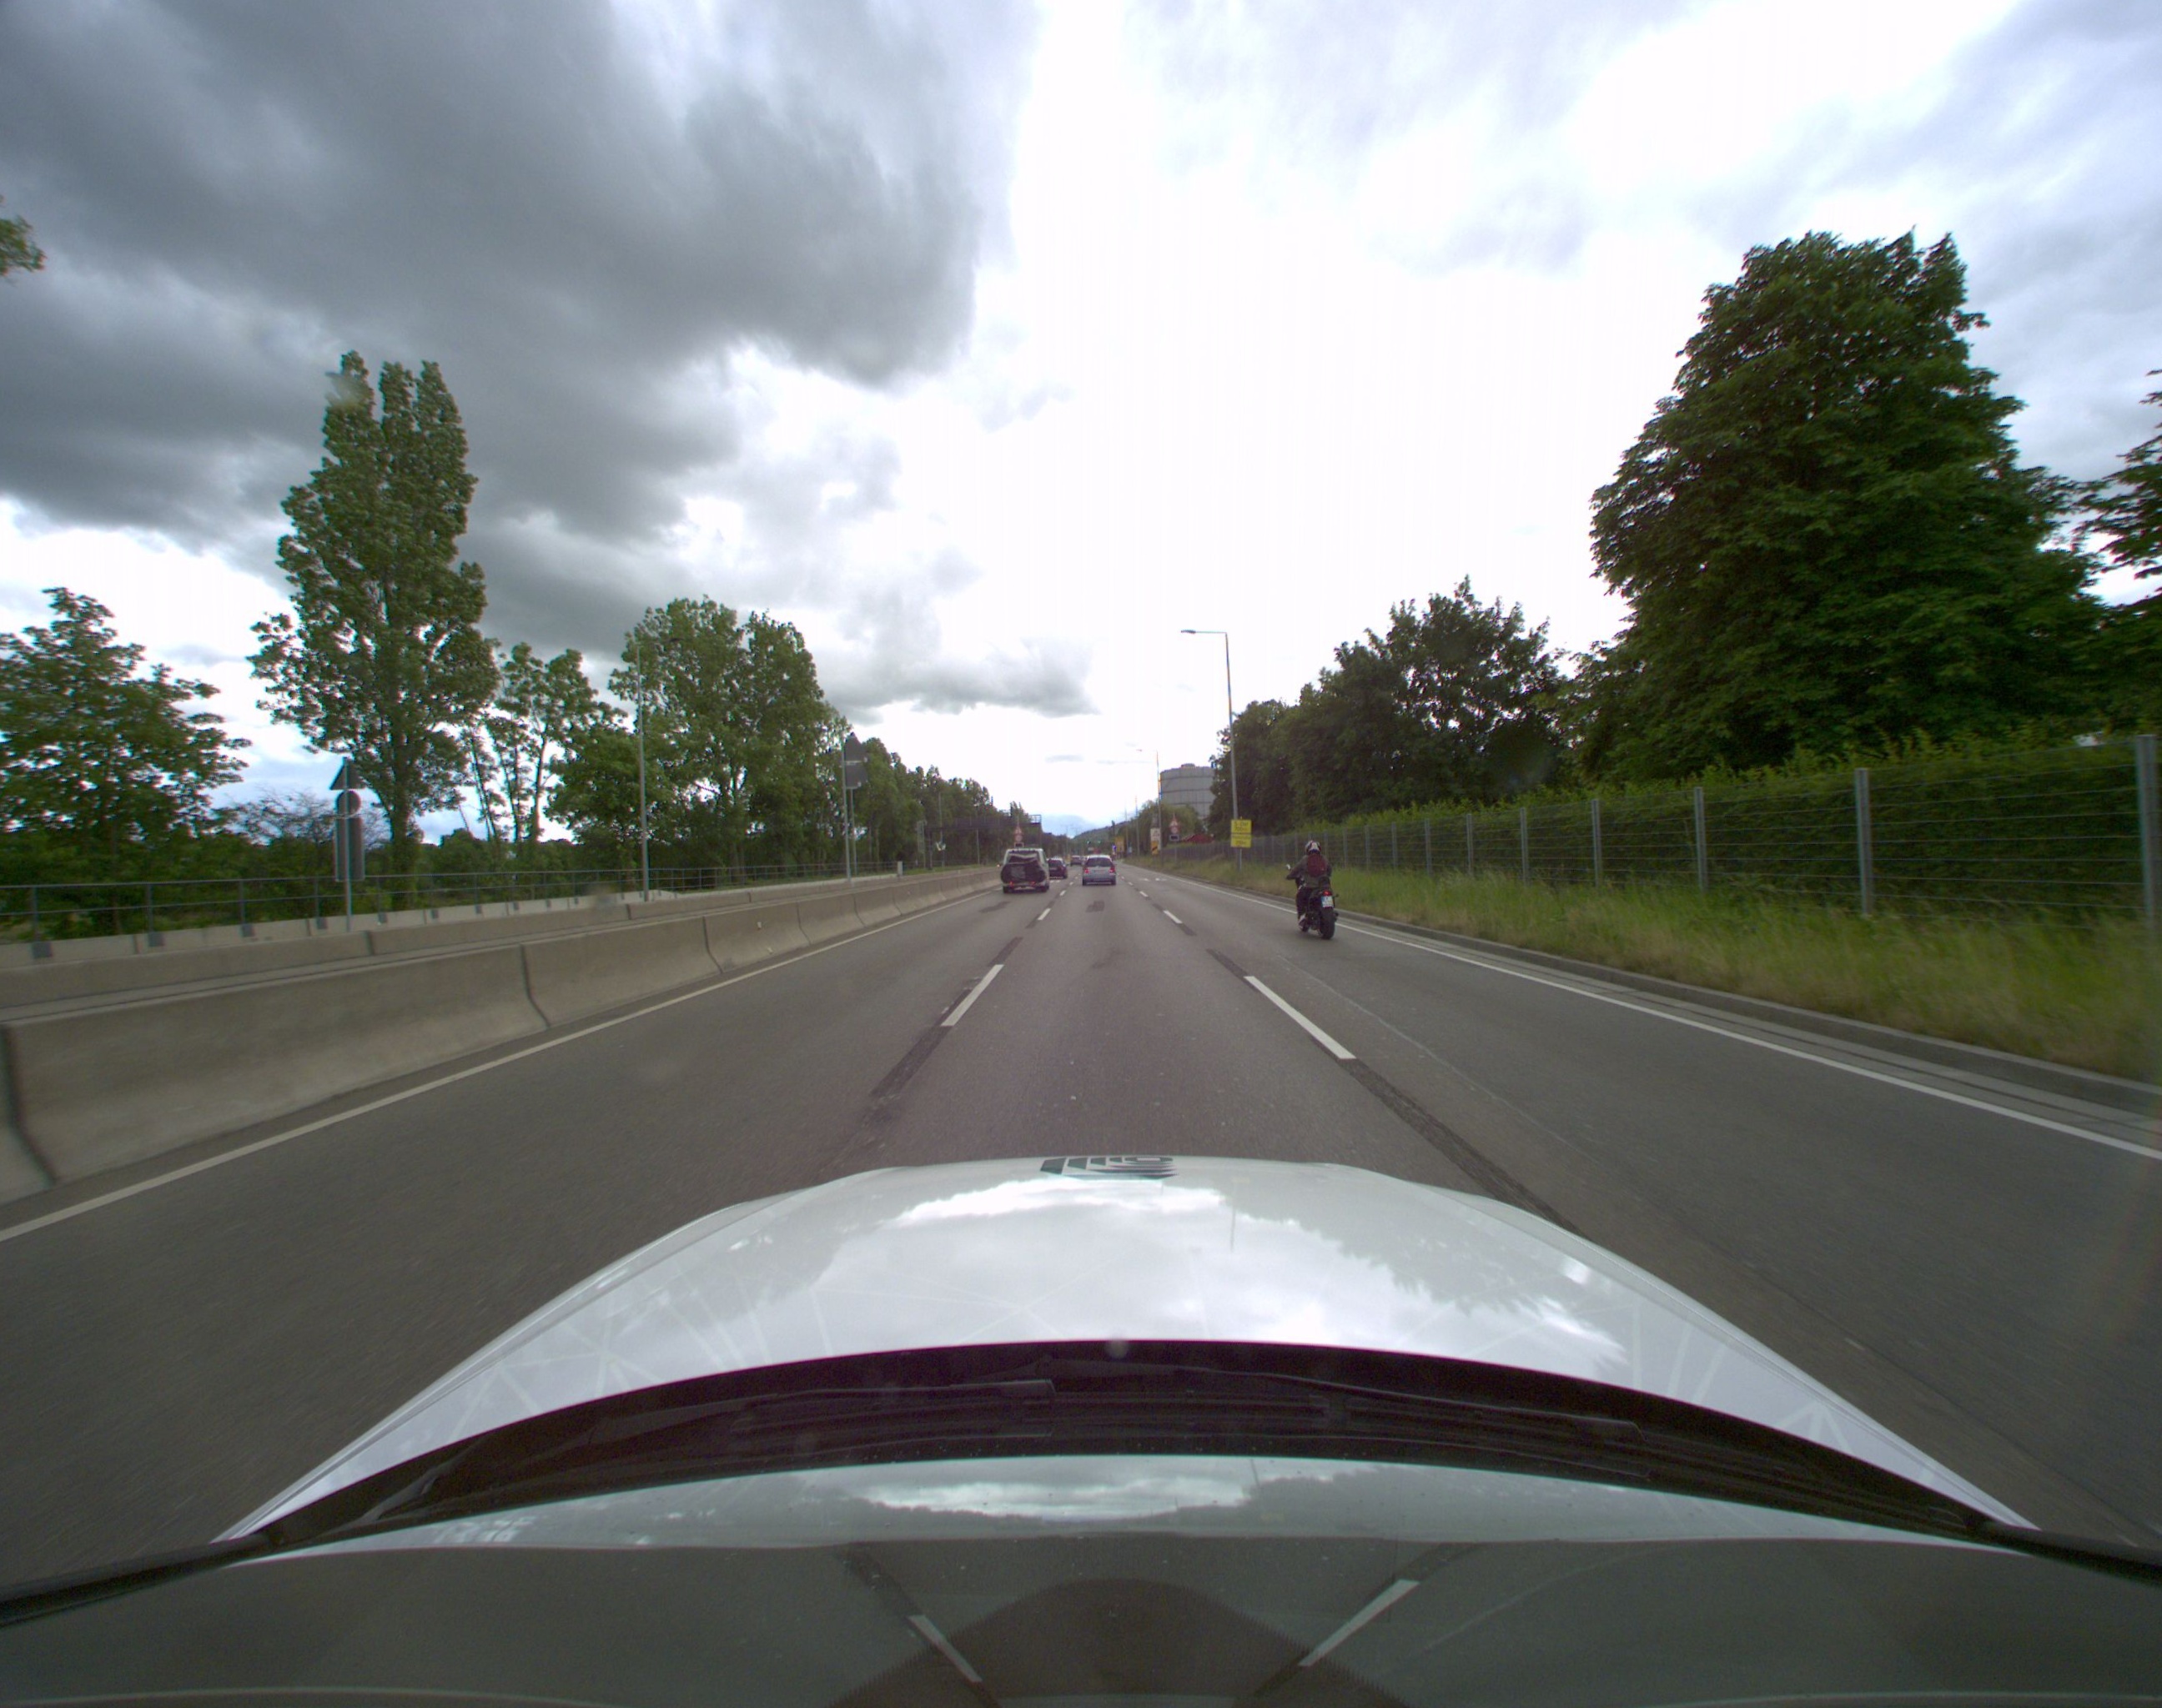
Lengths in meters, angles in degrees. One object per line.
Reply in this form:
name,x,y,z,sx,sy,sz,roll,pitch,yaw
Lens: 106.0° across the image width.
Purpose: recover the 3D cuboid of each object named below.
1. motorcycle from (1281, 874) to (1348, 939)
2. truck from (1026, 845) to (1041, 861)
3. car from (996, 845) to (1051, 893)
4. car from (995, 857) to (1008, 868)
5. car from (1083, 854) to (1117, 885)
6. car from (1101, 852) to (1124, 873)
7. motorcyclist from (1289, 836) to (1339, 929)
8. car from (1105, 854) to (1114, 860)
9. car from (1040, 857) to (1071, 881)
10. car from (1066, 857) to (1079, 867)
motorcycle,4.151,0.901,14.606,0.703,1.040,2.028,0,0,3
truck,-9.476,-0.266,162.333,2.396,3.107,7.201,0,0,0
car,-2.416,0.608,35.458,2.209,1.926,4.997,0,0,-3
car,-15.132,1.662,155.505,1.987,2.014,3.999,0,0,0
car,1.002,0.802,43.372,1.705,1.530,4.000,0,0,1
car,2.615,0.682,68.630,1.901,1.684,4.001,0,0,1
motorcyclist,4.158,0.496,14.571,0.682,1.610,0.846,0,-1,2
car,6.831,0.747,197.029,1.987,1.552,3.999,0,0,0
car,-1.726,1.001,56.461,1.987,1.552,3.999,0,0,0
car,-1.246,1.181,128.106,1.987,1.552,3.999,0,0,0
